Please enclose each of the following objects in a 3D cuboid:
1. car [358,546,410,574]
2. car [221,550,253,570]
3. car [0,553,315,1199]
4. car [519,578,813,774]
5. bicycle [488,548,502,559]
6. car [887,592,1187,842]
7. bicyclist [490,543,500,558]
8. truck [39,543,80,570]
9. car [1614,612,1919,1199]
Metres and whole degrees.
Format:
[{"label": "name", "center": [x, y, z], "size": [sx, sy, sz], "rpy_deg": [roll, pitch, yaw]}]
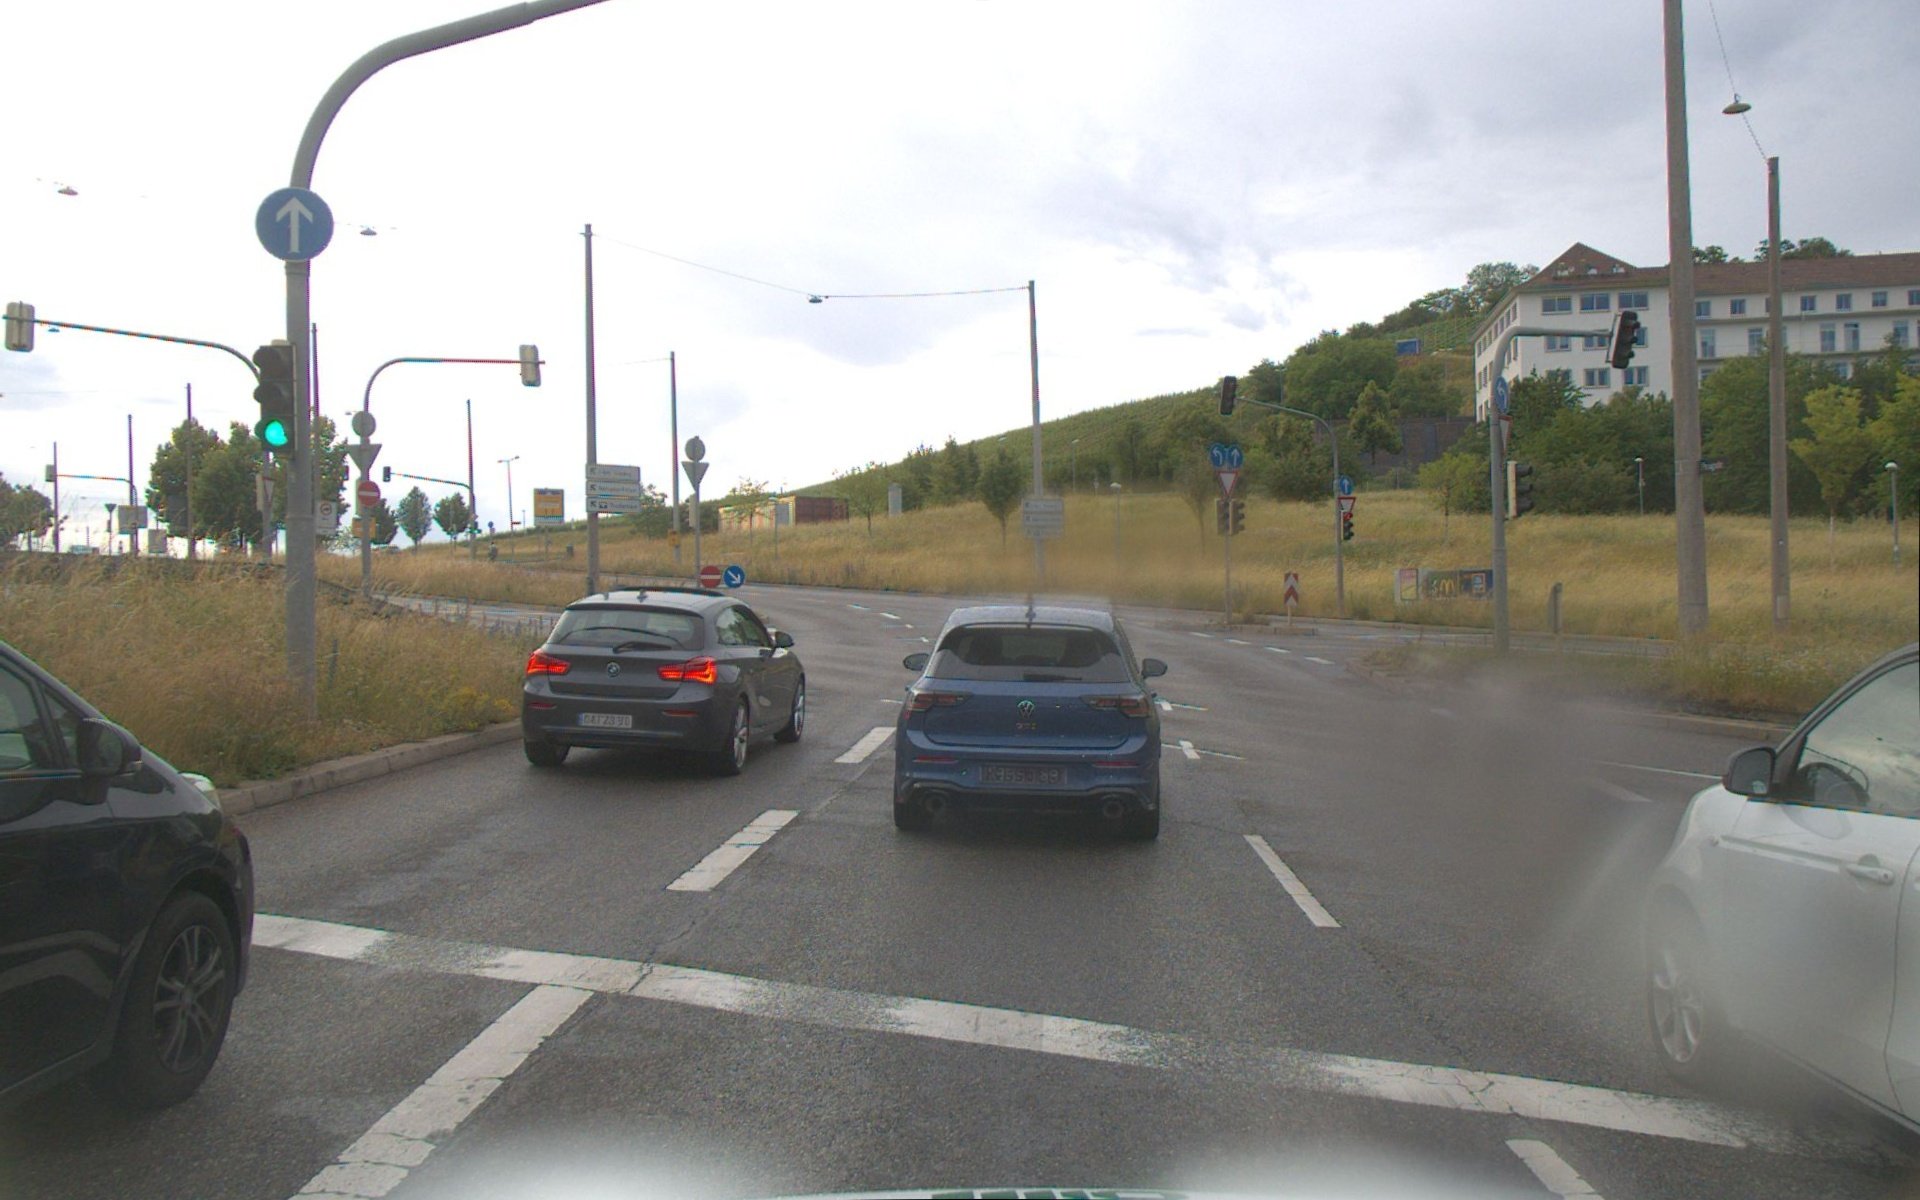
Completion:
[{"label": "car", "center": [-36.228, -2.511, 103.957], "size": [1.976, 1.646, 4.795], "rpy_deg": [2, 0, -34]}, {"label": "car", "center": [-63.388, -3.510, 144.987], "size": [1.973, 1.665, 4.375], "rpy_deg": [3, 0, -31]}, {"label": "car", "center": [-2.982, 0.622, 3.488], "size": [1.608, 1.530, 3.779], "rpy_deg": [3, 0, 1]}, {"label": "car", "center": [-2.421, 0.572, 14.625], "size": [1.667, 1.485, 4.116], "rpy_deg": [0, 0, 3]}, {"label": "bicycle", "center": [-34.225, -3.392, 121.717], "size": [0.514, 0.788, 1.601], "rpy_deg": [2, 0, -35]}, {"label": "car", "center": [0.543, 0.700, 11.788], "size": [1.787, 1.486, 3.809], "rpy_deg": [0, 0, 2]}, {"label": "bicyclist", "center": [-34.250, -3.679, 121.798], "size": [0.519, 1.065, 0.573], "rpy_deg": [3, -1, -36]}, {"label": "truck", "center": [-112.374, -5.447, 206.455], "size": [3.238, 3.128, 6.087], "rpy_deg": [3, 0, -40]}, {"label": "car", "center": [3.133, 0.801, 4.213], "size": [1.623, 1.529, 3.451], "rpy_deg": [0, -1, 1]}]
